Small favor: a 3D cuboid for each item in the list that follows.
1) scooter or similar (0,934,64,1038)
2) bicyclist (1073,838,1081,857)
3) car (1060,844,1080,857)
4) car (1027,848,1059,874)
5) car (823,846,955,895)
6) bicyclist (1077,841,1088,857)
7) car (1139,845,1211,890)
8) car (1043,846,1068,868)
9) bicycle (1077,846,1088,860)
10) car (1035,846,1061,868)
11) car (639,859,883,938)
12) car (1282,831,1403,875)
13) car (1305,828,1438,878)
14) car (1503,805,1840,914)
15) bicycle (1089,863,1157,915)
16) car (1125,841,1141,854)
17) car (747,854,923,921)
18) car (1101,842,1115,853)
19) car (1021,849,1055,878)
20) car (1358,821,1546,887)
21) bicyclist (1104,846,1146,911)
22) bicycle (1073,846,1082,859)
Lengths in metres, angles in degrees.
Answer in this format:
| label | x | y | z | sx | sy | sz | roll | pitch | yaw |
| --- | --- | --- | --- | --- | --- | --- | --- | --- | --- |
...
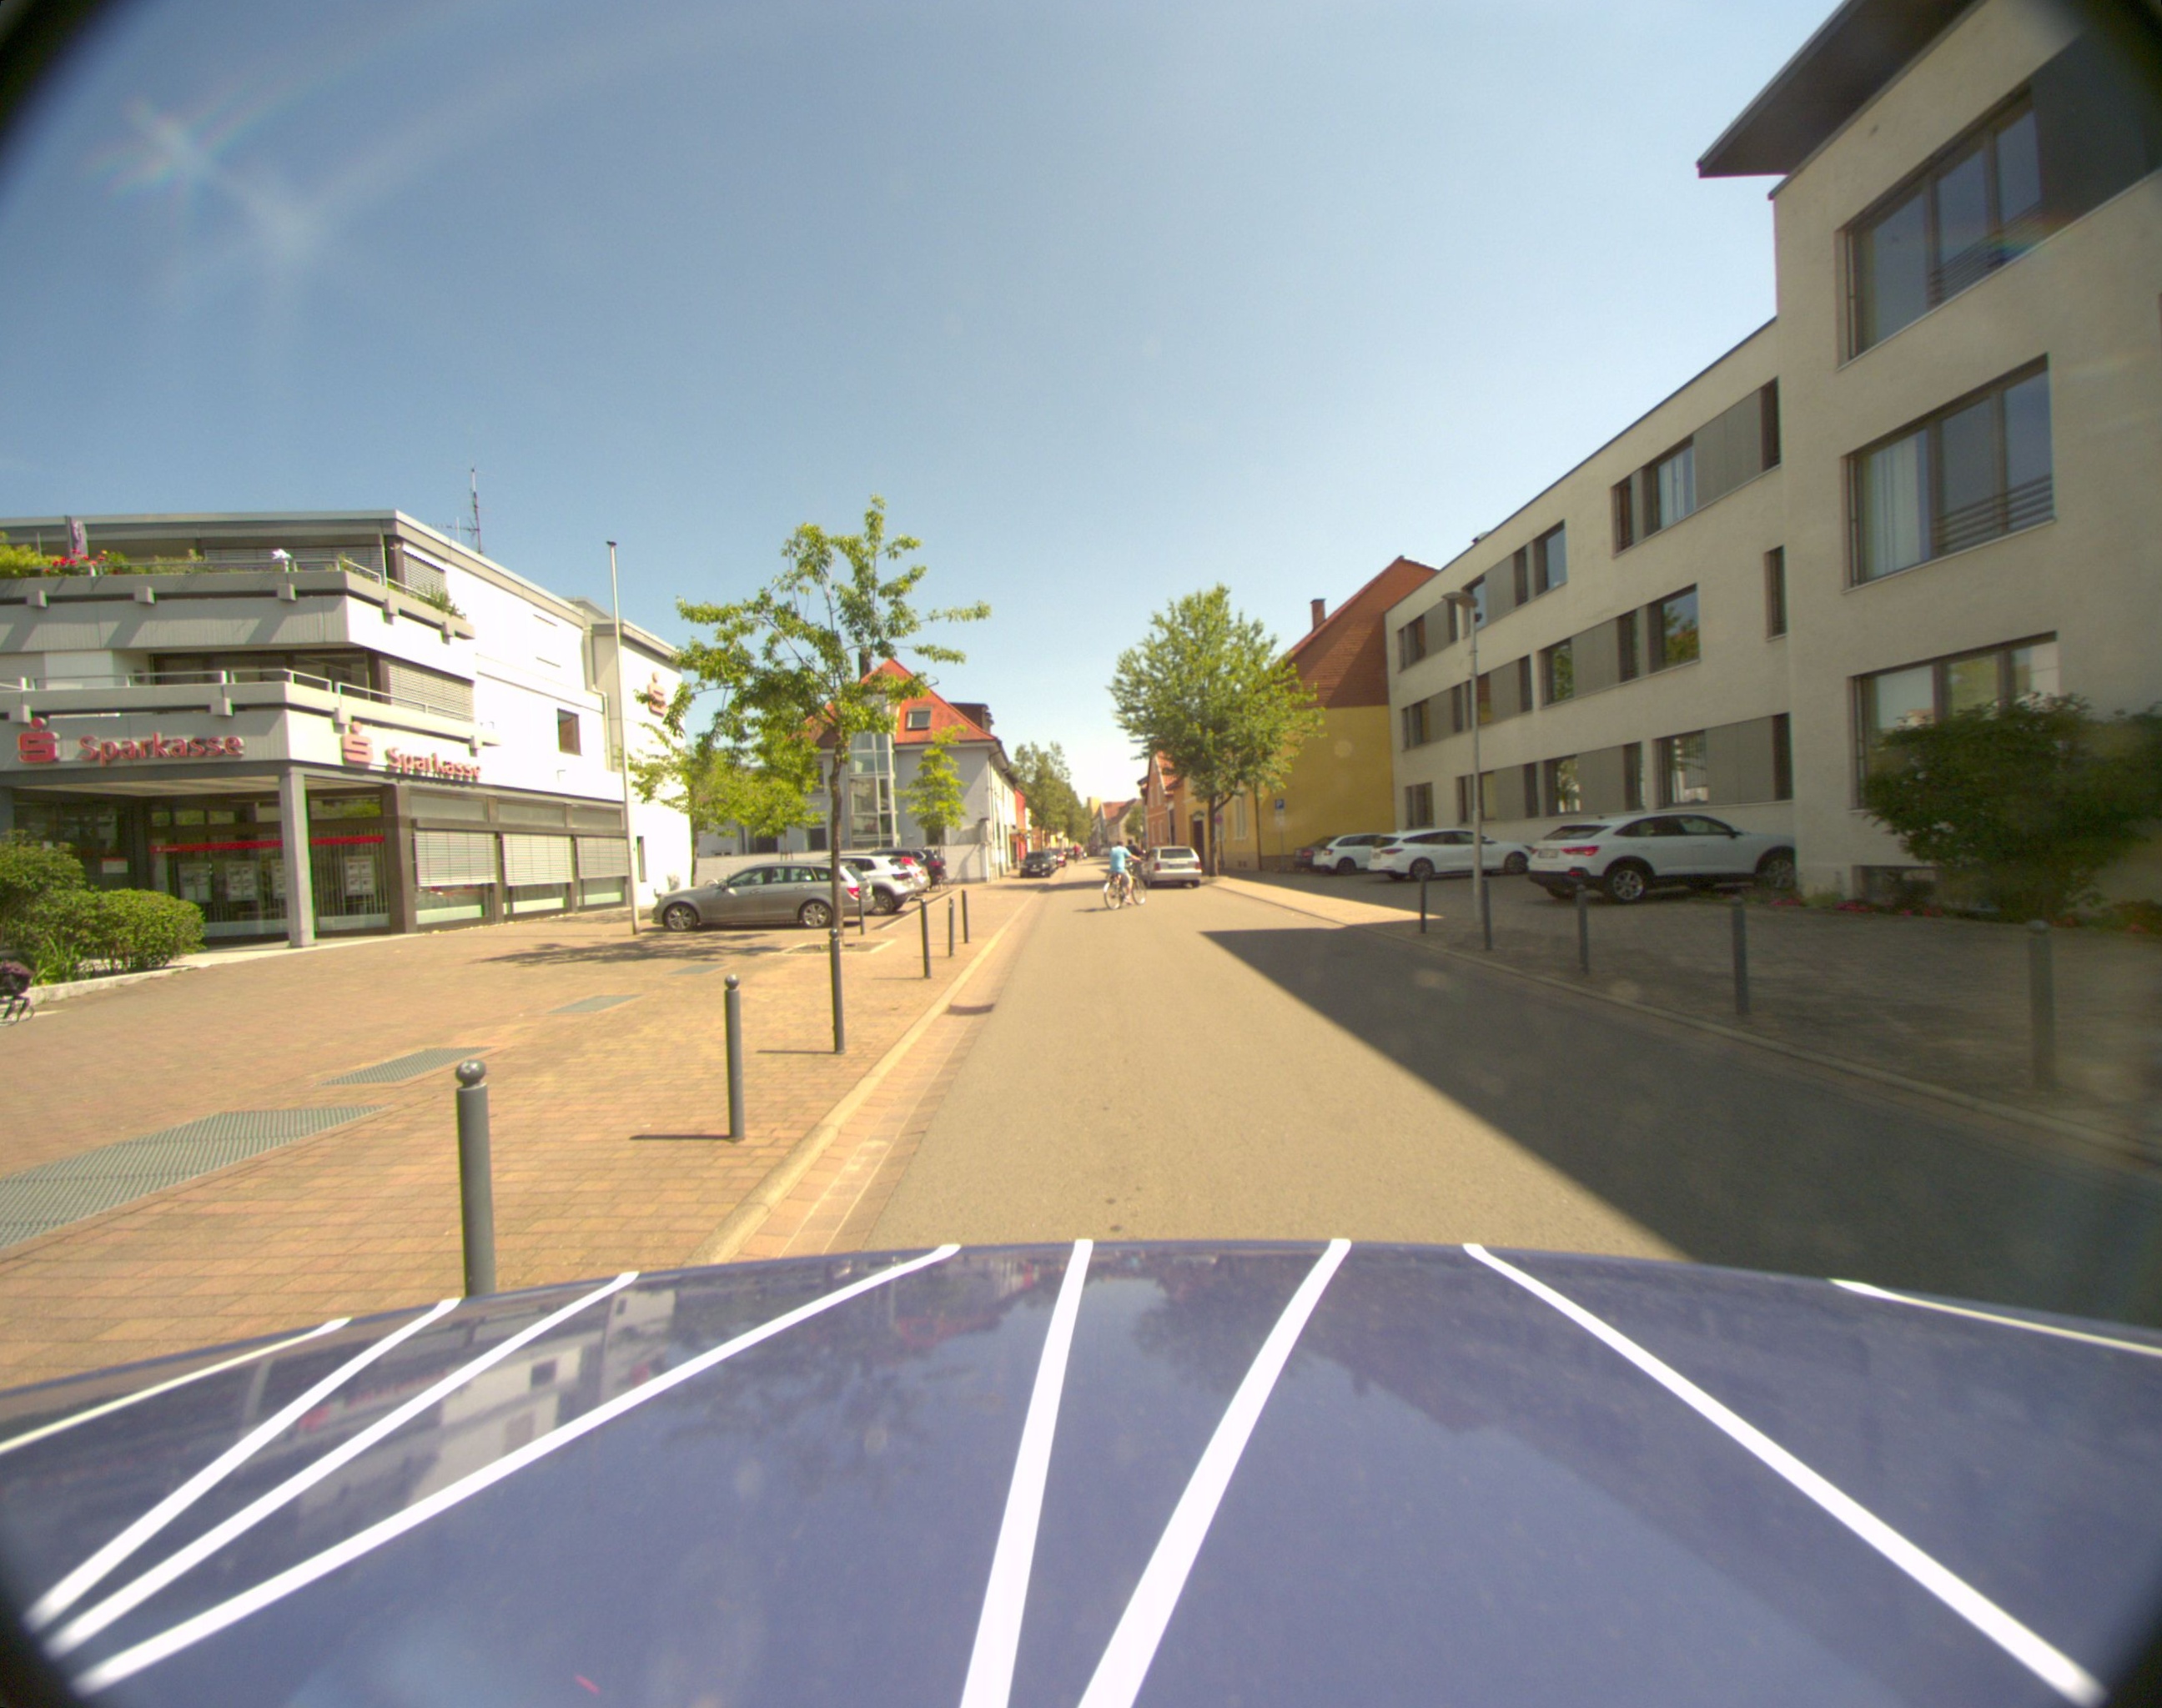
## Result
| label | x | y | z | sx | sy | sz | roll | pitch | yaw |
| --- | --- | --- | --- | --- | --- | --- | --- | --- | --- |
| scooter or similar | -12.045 | 1.484 | 8.457 | 0.589 | 1.069 | 0.807 | -2 | 1 | 38 |
| bicyclist | -0.353 | -0.578 | 71.330 | 0.645 | 1.766 | 0.722 | -1 | 0 | 6 |
| car | -1.409 | -0.497 | 100.231 | 1.928 | 1.594 | 4.110 | -3 | 1 | 7 |
| car | -2.371 | 0.426 | 48.251 | 1.721 | 1.473 | 4.095 | -2 | 1 | 1 |
| car | -7.463 | 0.617 | 29.904 | 4.643 | 1.761 | 2.147 | -1 | 0 | -3 |
| bicyclist | 0.161 | -0.513 | 77.804 | 1.028 | 1.635 | 1.025 | -2 | 1 | 3 |
| car | 3.213 | 0.418 | 26.793 | 1.885 | 1.455 | 4.435 | -1 | 1 | -1 |
| car | -2.128 | 0.196 | 62.159 | 1.834 | 1.579 | 4.086 | -4 | 1 | -3 |
| bicycle | 0.165 | -0.153 | 77.736 | 0.959 | 1.363 | 2.406 | -2 | 1 | 4 |
| car | -2.378 | 0.233 | 56.033 | 1.741 | 1.504 | 3.735 | -2 | 0 | -1 |
| car | -6.917 | 0.933 | 16.869 | 4.589 | 1.504 | 1.915 | -1 | 1 | -6 |
| car | 10.271 | -0.042 | 29.996 | 3.998 | 1.423 | 1.971 | -4 | 0 | -4 |
| car | 10.377 | -0.034 | 27.328 | 3.997 | 1.443 | 1.807 | -4 | 0 | 0 |
| car | 10.644 | 0.073 | 13.981 | 4.518 | 1.545 | 2.147 | -4 | 1 | -2 |
| bicycle | 1.027 | 0.818 | 18.261 | 0.674 | 1.103 | 1.899 | -1 | 1 | 36 |
| car | 6.884 | -0.912 | 100.008 | 1.863 | 1.620 | 4.048 | -3 | 1 | 7 |
| car | -6.306 | 0.822 | 19.866 | 3.999 | 1.565 | 1.856 | -1 | 2 | -5 |
| car | 5.821 | -1.345 | 162.875 | 2.443 | 2.224 | 4.958 | -3 | 1 | -3 |
| car | -2.380 | 0.479 | 42.449 | 1.708 | 1.473 | 3.920 | -1 | 1 | -1 |
| car | 10.759 | -0.038 | 22.279 | 4.515 | 1.545 | 1.934 | -4 | 2 | 0 |
| bicyclist | 1.059 | 0.570 | 18.312 | 0.669 | 1.518 | 0.763 | -1 | 1 | 35 |
| bicycle | -0.355 | -0.105 | 71.308 | 0.635 | 1.227 | 1.895 | -1 | -1 | 6 |
